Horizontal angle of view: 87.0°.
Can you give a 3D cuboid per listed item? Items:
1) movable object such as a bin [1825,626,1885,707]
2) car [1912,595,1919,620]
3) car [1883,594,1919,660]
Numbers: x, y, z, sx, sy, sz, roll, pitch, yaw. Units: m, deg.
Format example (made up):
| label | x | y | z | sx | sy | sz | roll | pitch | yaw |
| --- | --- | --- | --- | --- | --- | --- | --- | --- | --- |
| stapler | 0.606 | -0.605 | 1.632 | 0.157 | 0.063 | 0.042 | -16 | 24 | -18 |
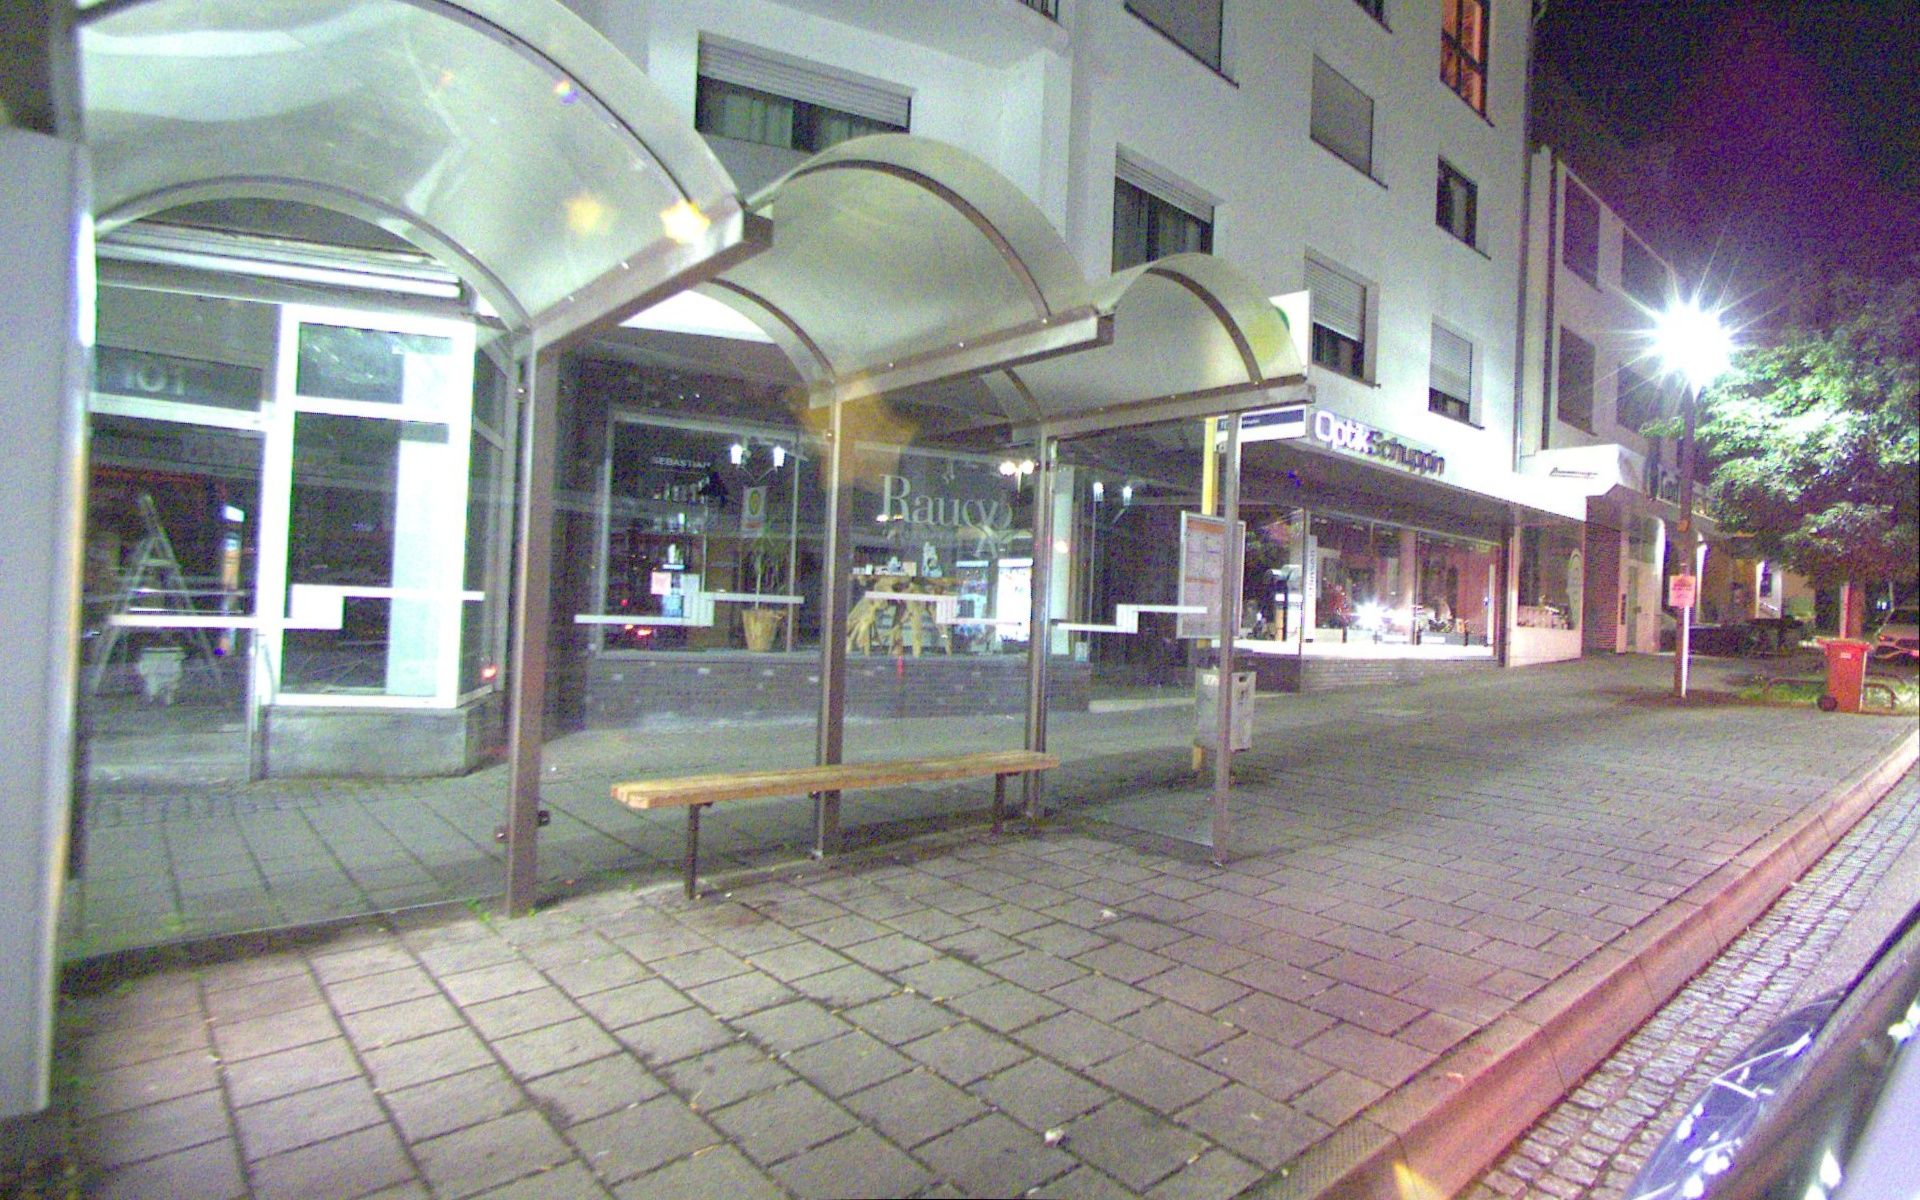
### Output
| label | x | y | z | sx | sy | sz | roll | pitch | yaw |
| --- | --- | --- | --- | --- | --- | --- | --- | --- | --- |
| movable object such as a bin | 11.260 | 0.826 | 12.746 | 0.523 | 0.949 | 0.621 | 0 | 1 | 38 |
| car | 59.661 | 0.446 | 62.198 | 1.638 | 1.485 | 3.717 | -1 | 0 | 43 |
| car | 23.690 | 0.641 | 24.396 | 4.519 | 1.459 | 1.859 | -1 | 3 | -45 |
